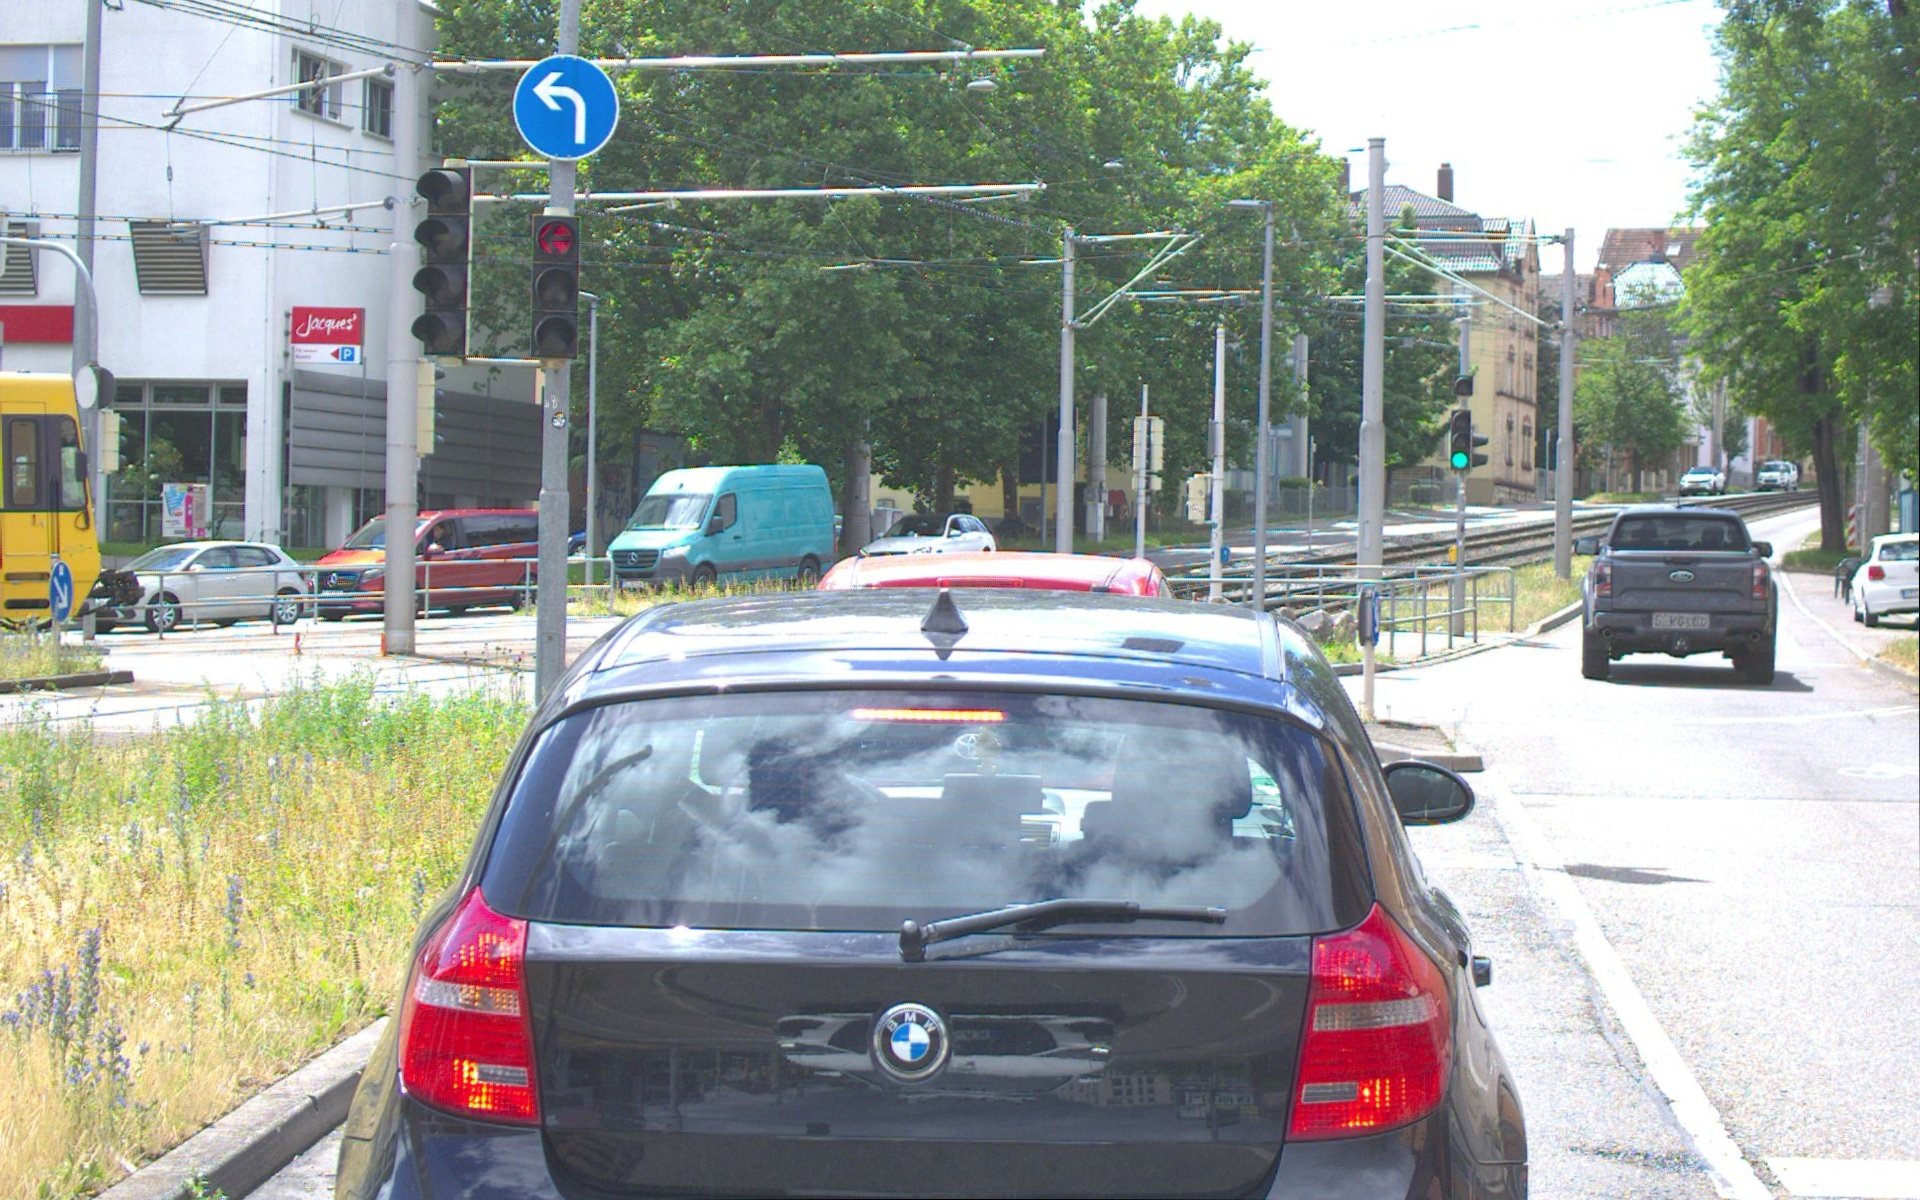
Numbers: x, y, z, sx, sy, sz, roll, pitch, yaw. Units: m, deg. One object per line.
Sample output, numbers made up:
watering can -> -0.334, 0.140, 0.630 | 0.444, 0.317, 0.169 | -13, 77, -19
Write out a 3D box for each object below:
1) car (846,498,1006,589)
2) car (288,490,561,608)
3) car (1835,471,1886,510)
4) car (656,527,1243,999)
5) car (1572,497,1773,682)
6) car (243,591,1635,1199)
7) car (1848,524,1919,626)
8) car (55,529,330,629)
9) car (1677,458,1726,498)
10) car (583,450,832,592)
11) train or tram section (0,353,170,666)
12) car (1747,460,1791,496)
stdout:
car -> -0.708, -1.217, 76.001 | 1.855, 1.921, 4.792 | 0, 0, 21
car -> -9.412, -0.881, 60.758 | 1.857, 2.002, 4.787 | 0, 0, 38
car -> 40.884, -4.945, 156.055 | 1.995, 1.656, 3.996 | 0, 0, 18
car -> 0.119, 0.505, 12.803 | 1.625, 1.468, 3.999 | 0, 0, 8
car -> 7.834, -0.114, 37.712 | 2.000, 1.880, 5.147 | 0, 0, 12
car -> -0.112, 0.714, 6.208 | 1.701, 1.447, 4.000 | 0, 0, -3
car -> 15.434, -0.403, 55.931 | 1.788, 1.590, 3.998 | 0, 0, 13
car -> -12.565, -0.339, 56.461 | 1.857, 1.579, 4.160 | 0, 0, 39
car -> 40.504, -6.643, 187.734 | 1.996, 2.007, 3.996 | 0, 0, 21
car -> -4.899, -1.506, 67.722 | 2.134, 2.645, 5.681 | 0, 0, 29
train or tram section -> -19.446, -1.033, 39.457 | 19.984, 3.801, 3.762 | -1, 0, -30
car -> 48.738, -7.345, 207.031 | 1.996, 2.007, 3.996 | 0, 0, 21
